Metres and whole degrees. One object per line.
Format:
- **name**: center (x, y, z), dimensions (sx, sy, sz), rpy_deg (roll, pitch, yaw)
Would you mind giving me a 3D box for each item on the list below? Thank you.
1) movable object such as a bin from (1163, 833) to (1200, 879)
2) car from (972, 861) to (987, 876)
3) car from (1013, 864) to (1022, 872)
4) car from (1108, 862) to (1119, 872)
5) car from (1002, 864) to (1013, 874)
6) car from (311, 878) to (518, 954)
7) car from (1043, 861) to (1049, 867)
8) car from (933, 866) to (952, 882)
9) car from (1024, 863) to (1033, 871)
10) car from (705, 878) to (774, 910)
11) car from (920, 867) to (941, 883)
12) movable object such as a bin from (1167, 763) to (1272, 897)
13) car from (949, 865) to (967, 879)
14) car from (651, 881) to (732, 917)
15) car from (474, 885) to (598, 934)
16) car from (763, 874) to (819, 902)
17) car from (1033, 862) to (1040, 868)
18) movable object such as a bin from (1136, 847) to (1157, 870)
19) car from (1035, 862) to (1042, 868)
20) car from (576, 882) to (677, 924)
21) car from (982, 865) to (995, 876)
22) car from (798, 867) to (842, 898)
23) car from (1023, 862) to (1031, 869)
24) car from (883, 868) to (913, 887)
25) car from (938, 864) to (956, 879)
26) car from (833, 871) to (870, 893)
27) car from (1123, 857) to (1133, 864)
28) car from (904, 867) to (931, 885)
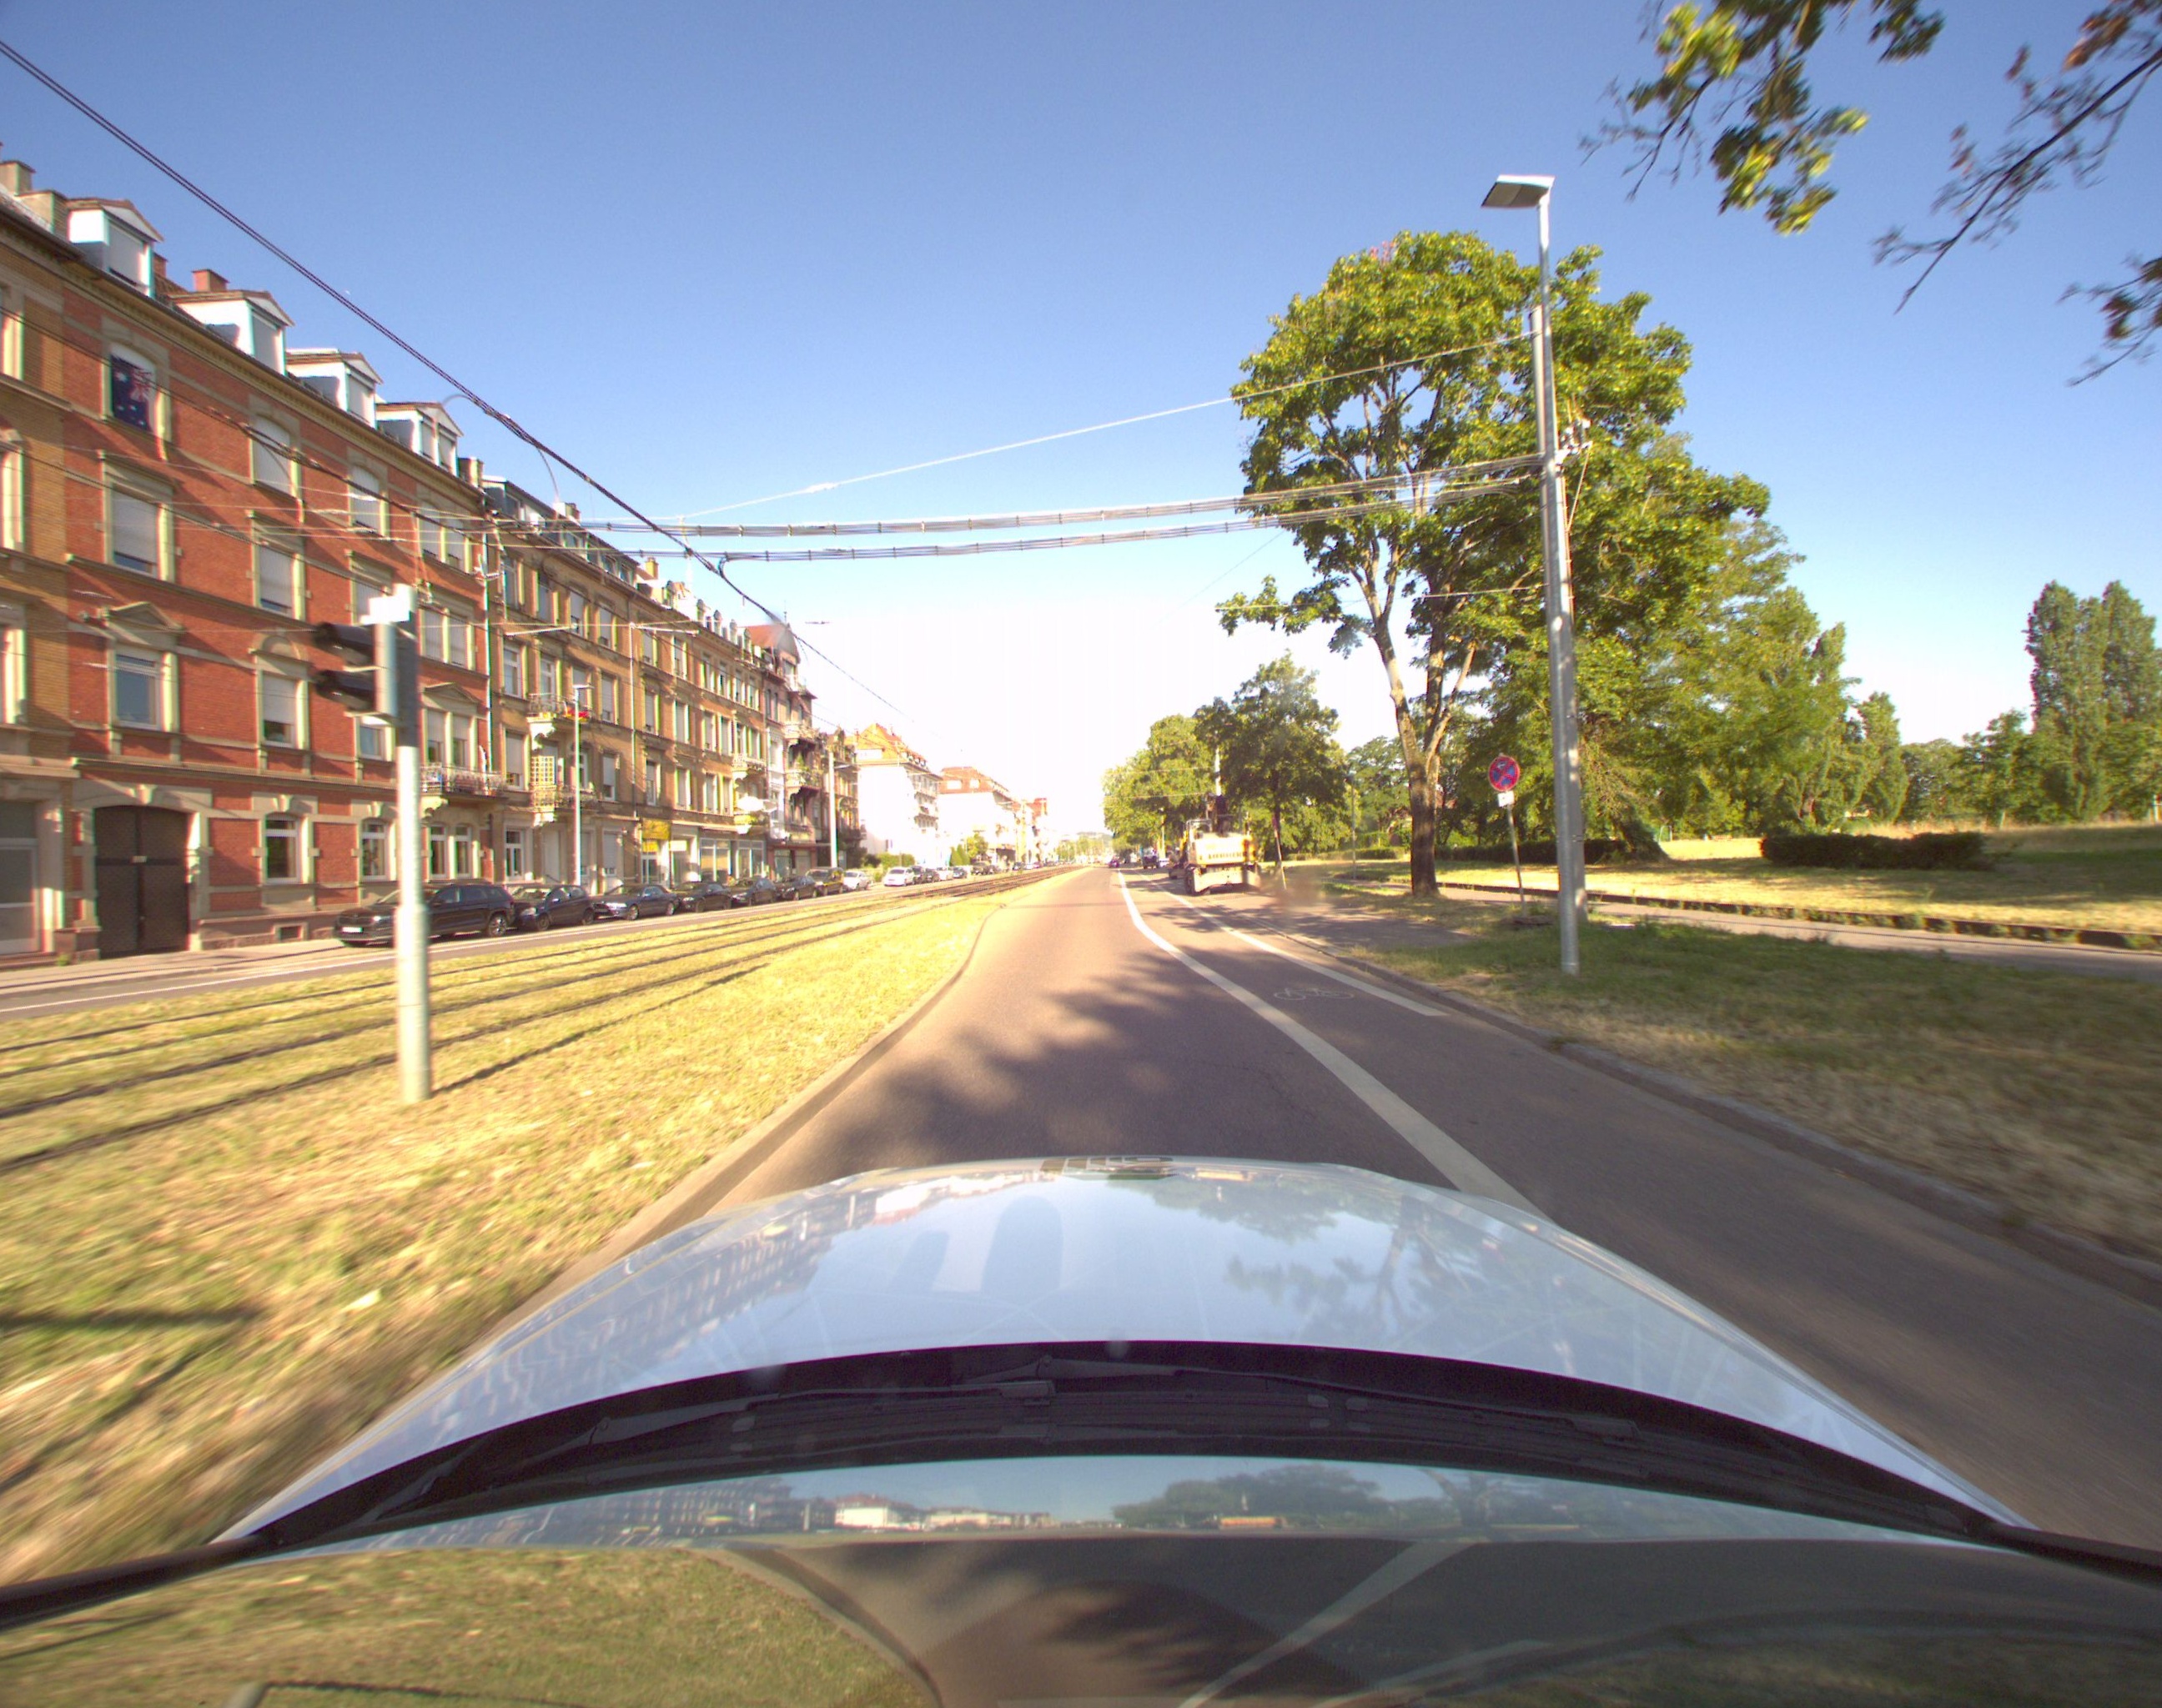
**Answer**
- **movable object such as a bin**: center (7.181, 0.178, 58.729), dimensions (1.961, 3.013, 4.798), rpy_deg (-5, -1, 2)
- **car**: center (-14.787, 2.120, 118.336), dimensions (1.652, 2.139, 3.527), rpy_deg (0, 0, 2)
- **car**: center (-12.602, 2.762, 161.864), dimensions (1.521, 1.560, 3.225), rpy_deg (0, 0, 2)
- **car**: center (5.642, 2.265, 140.729), dimensions (1.986, 1.684, 4.002), rpy_deg (0, -1, 2)
- **car**: center (-12.498, 2.582, 139.052), dimensions (1.521, 1.560, 3.225), rpy_deg (0, 0, 2)
- **car**: center (-18.663, 1.659, 23.160), dimensions (2.008, 1.754, 4.560), rpy_deg (0, 1, 2)
- **car**: center (-9.998, 2.954, 231.089), dimensions (1.521, 1.610, 3.225), rpy_deg (0, 0, 2)
- **car**: center (-15.325, 2.192, 90.138), dimensions (1.521, 1.560, 3.225), rpy_deg (0, 0, 2)
- **car**: center (-11.544, 2.882, 178.779), dimensions (1.521, 1.560, 3.225), rpy_deg (0, 0, 2)
- **car**: center (-17.594, 2.028, 42.162), dimensions (1.770, 1.406, 3.911), rpy_deg (0, 1, 2)
- **car**: center (-15.412, 2.130, 83.599), dimensions (1.521, 1.560, 3.225), rpy_deg (0, 0, 2)
- **movable object such as a bin**: center (5.961, -0.924, 36.706), dimensions (3.076, 5.088, 8.895), rpy_deg (-5, -1, 2)
- **car**: center (-14.920, 2.143, 99.035), dimensions (1.521, 1.560, 3.225), rpy_deg (0, 0, 2)
- **car**: center (-17.897, 2.029, 37.646), dimensions (1.770, 1.406, 3.911), rpy_deg (0, 1, 2)
- **car**: center (-18.467, 1.849, 27.797), dimensions (1.769, 1.466, 3.532), rpy_deg (0, -1, 2)
- **car**: center (-16.990, 1.965, 47.962), dimensions (1.770, 1.406, 3.981), rpy_deg (0, 1, 2)
- **car**: center (-10.901, 2.700, 200.052), dimensions (1.521, 1.610, 3.225), rpy_deg (0, 0, 2)
- **movable object such as a bin**: center (9.160, 0.631, 114.093), dimensions (2.458, 2.906, 4.001), rpy_deg (-5, -1, 2)
- **car**: center (-10.585, 2.738, 204.881), dimensions (1.521, 1.610, 3.225), rpy_deg (0, 0, 2)
- **car**: center (-18.150, 1.933, 32.756), dimensions (1.770, 1.406, 3.911), rpy_deg (0, 1, 2)
- **car**: center (-14.106, 2.463, 124.192), dimensions (1.521, 1.560, 3.225), rpy_deg (0, 0, 2)
- **car**: center (-17.116, 1.811, 53.593), dimensions (1.556, 1.854, 3.902), rpy_deg (0, 0, 2)
- **car**: center (-12.347, 2.602, 187.673), dimensions (1.521, 1.610, 3.225), rpy_deg (0, 0, 2)
- **car**: center (-16.431, 2.082, 73.316), dimensions (1.735, 1.560, 3.769), rpy_deg (0, 1, 2)
- **car**: center (-15.461, 2.028, 94.097), dimensions (1.521, 1.560, 3.225), rpy_deg (0, 0, 2)
- **car**: center (-17.019, 2.067, 60.476), dimensions (1.556, 1.457, 3.666), rpy_deg (0, 1, 2)
- **car**: center (12.906, 1.901, 223.856), dimensions (1.990, 1.860, 3.994), rpy_deg (0, -1, -4)
- **car**: center (-15.637, 2.119, 78.057), dimensions (1.735, 1.560, 3.769), rpy_deg (0, 1, 2)
